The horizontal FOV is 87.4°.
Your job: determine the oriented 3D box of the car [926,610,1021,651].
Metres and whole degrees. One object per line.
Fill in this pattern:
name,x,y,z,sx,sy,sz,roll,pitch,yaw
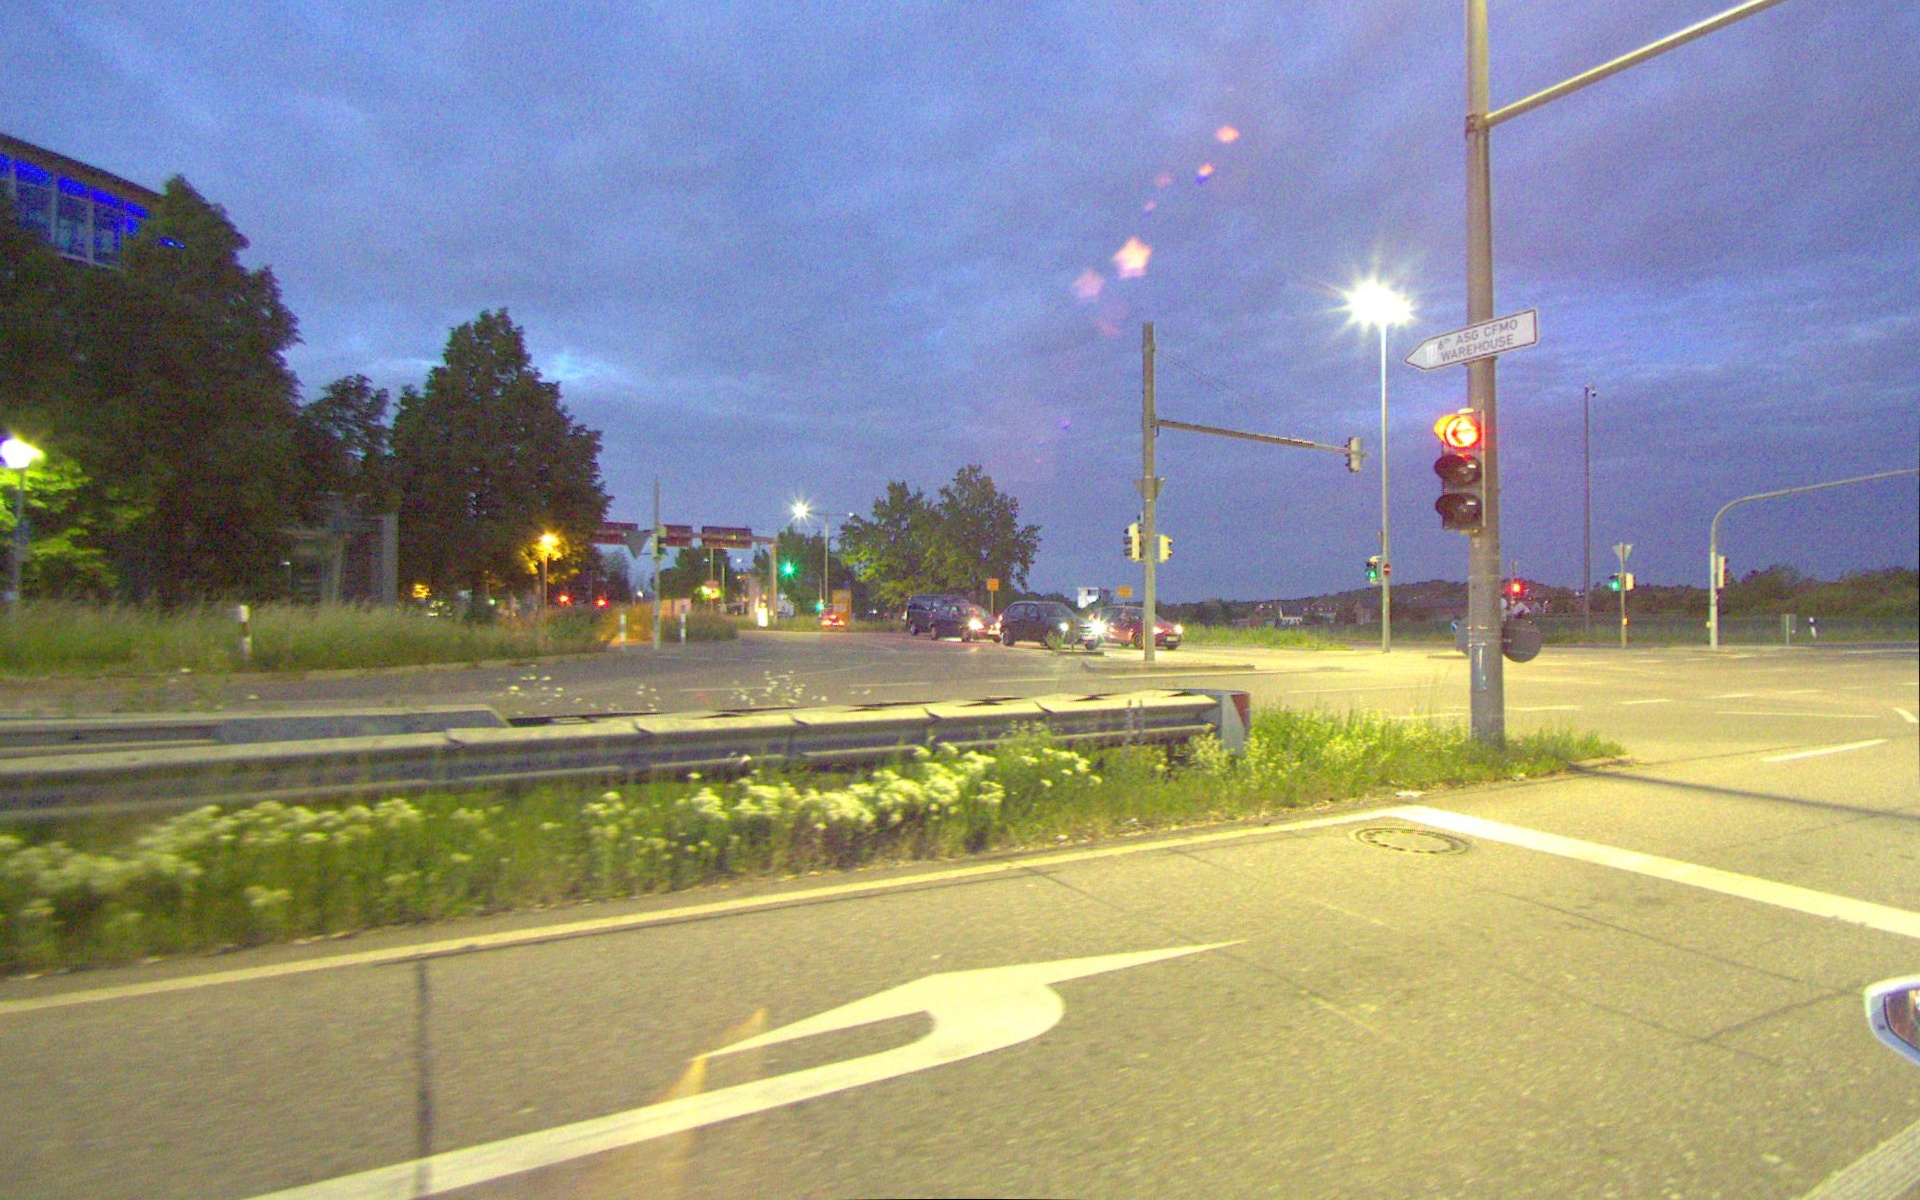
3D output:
car,0.459,1.166,39.169,1.712,1.493,3.960,2,-2,-35

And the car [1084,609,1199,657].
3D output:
car,6.283,1.140,35.213,1.711,1.558,4.018,2,-2,-32

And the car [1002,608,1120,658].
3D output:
car,3.302,1.092,33.656,1.710,1.558,4.292,1,-2,-31

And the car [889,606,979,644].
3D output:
car,-1.316,1.200,48.740,2.188,1.716,4.561,1,-1,-35
